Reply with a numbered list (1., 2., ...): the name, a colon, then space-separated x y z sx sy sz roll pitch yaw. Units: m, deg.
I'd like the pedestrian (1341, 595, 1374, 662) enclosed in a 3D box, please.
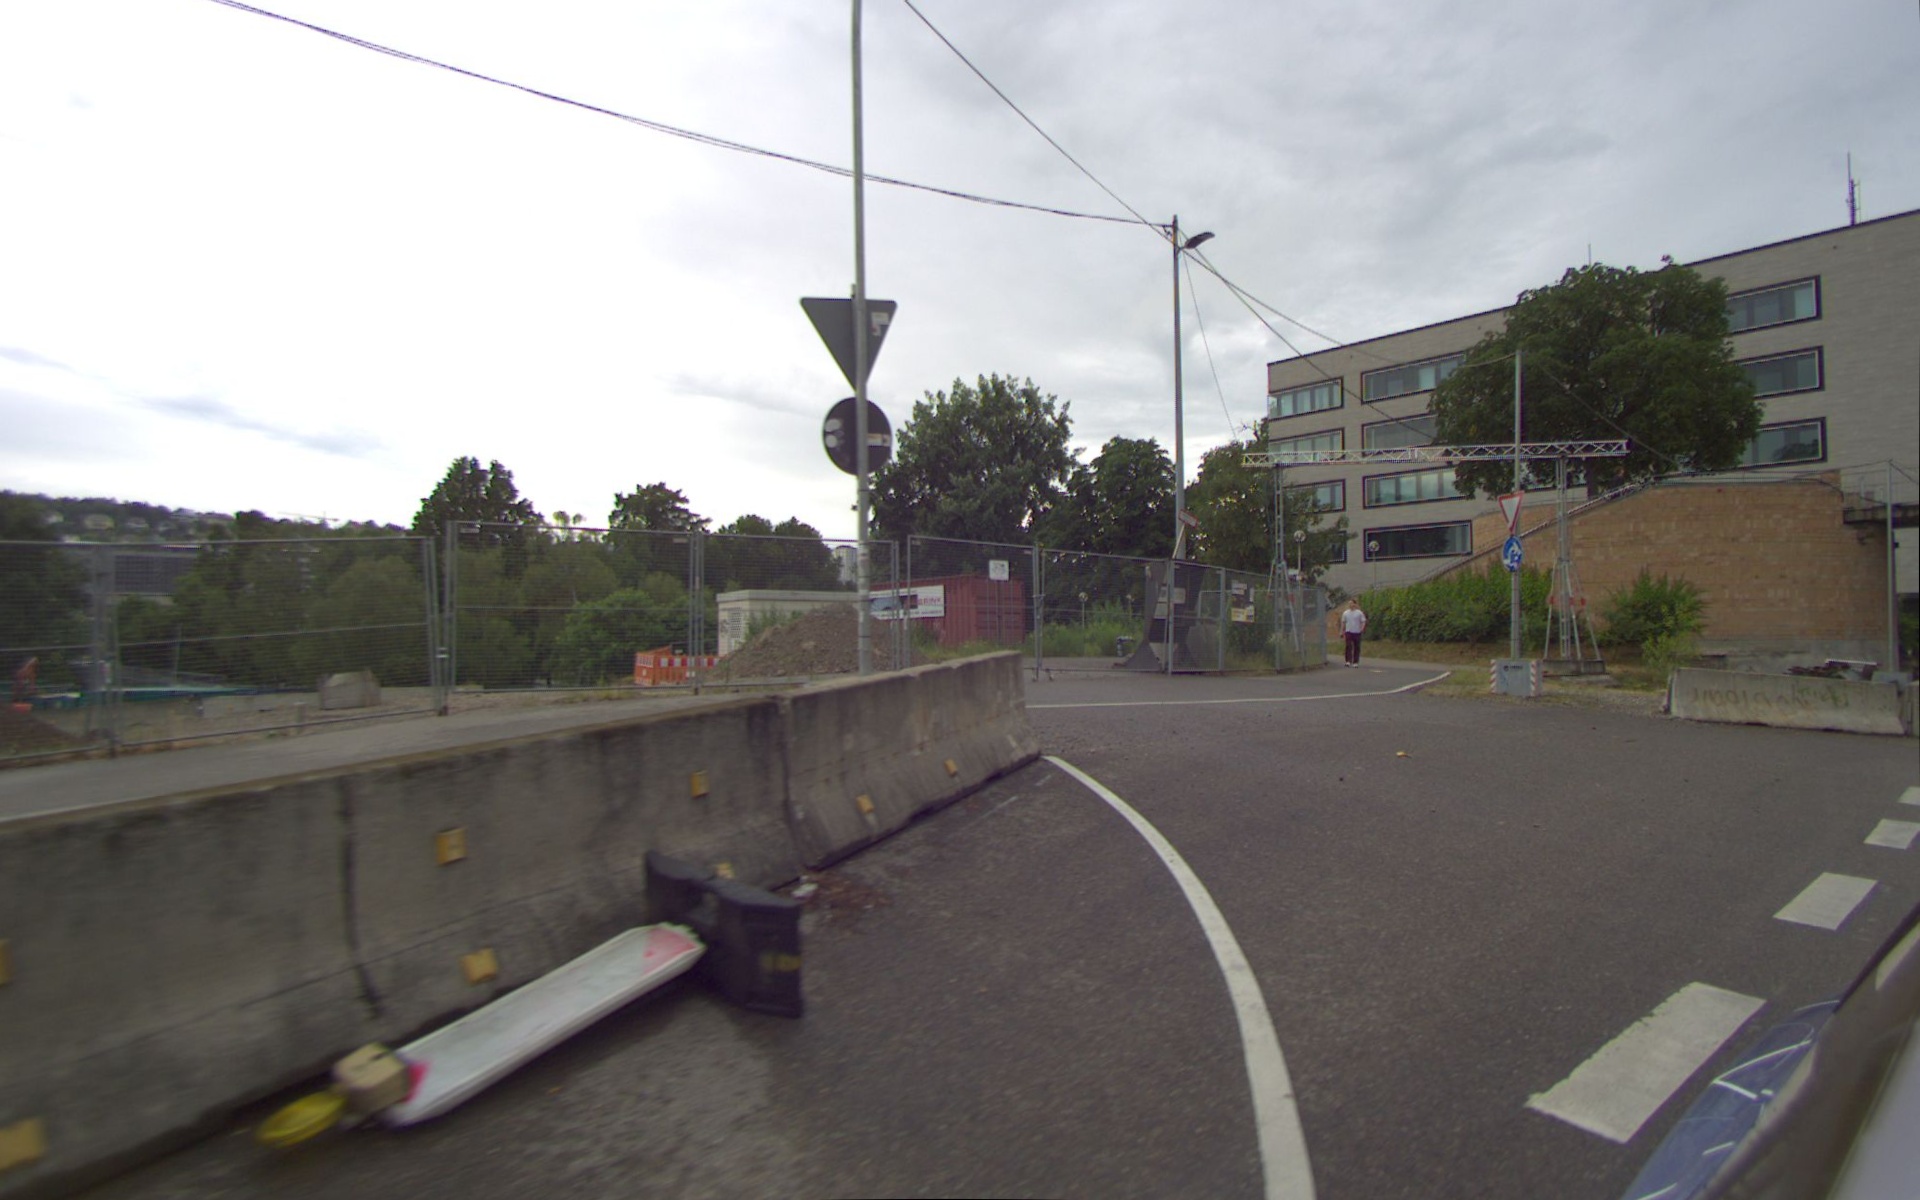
1. pedestrian: 10.913 0.781 27.797 0.686 1.801 0.806 -1 -2 33
